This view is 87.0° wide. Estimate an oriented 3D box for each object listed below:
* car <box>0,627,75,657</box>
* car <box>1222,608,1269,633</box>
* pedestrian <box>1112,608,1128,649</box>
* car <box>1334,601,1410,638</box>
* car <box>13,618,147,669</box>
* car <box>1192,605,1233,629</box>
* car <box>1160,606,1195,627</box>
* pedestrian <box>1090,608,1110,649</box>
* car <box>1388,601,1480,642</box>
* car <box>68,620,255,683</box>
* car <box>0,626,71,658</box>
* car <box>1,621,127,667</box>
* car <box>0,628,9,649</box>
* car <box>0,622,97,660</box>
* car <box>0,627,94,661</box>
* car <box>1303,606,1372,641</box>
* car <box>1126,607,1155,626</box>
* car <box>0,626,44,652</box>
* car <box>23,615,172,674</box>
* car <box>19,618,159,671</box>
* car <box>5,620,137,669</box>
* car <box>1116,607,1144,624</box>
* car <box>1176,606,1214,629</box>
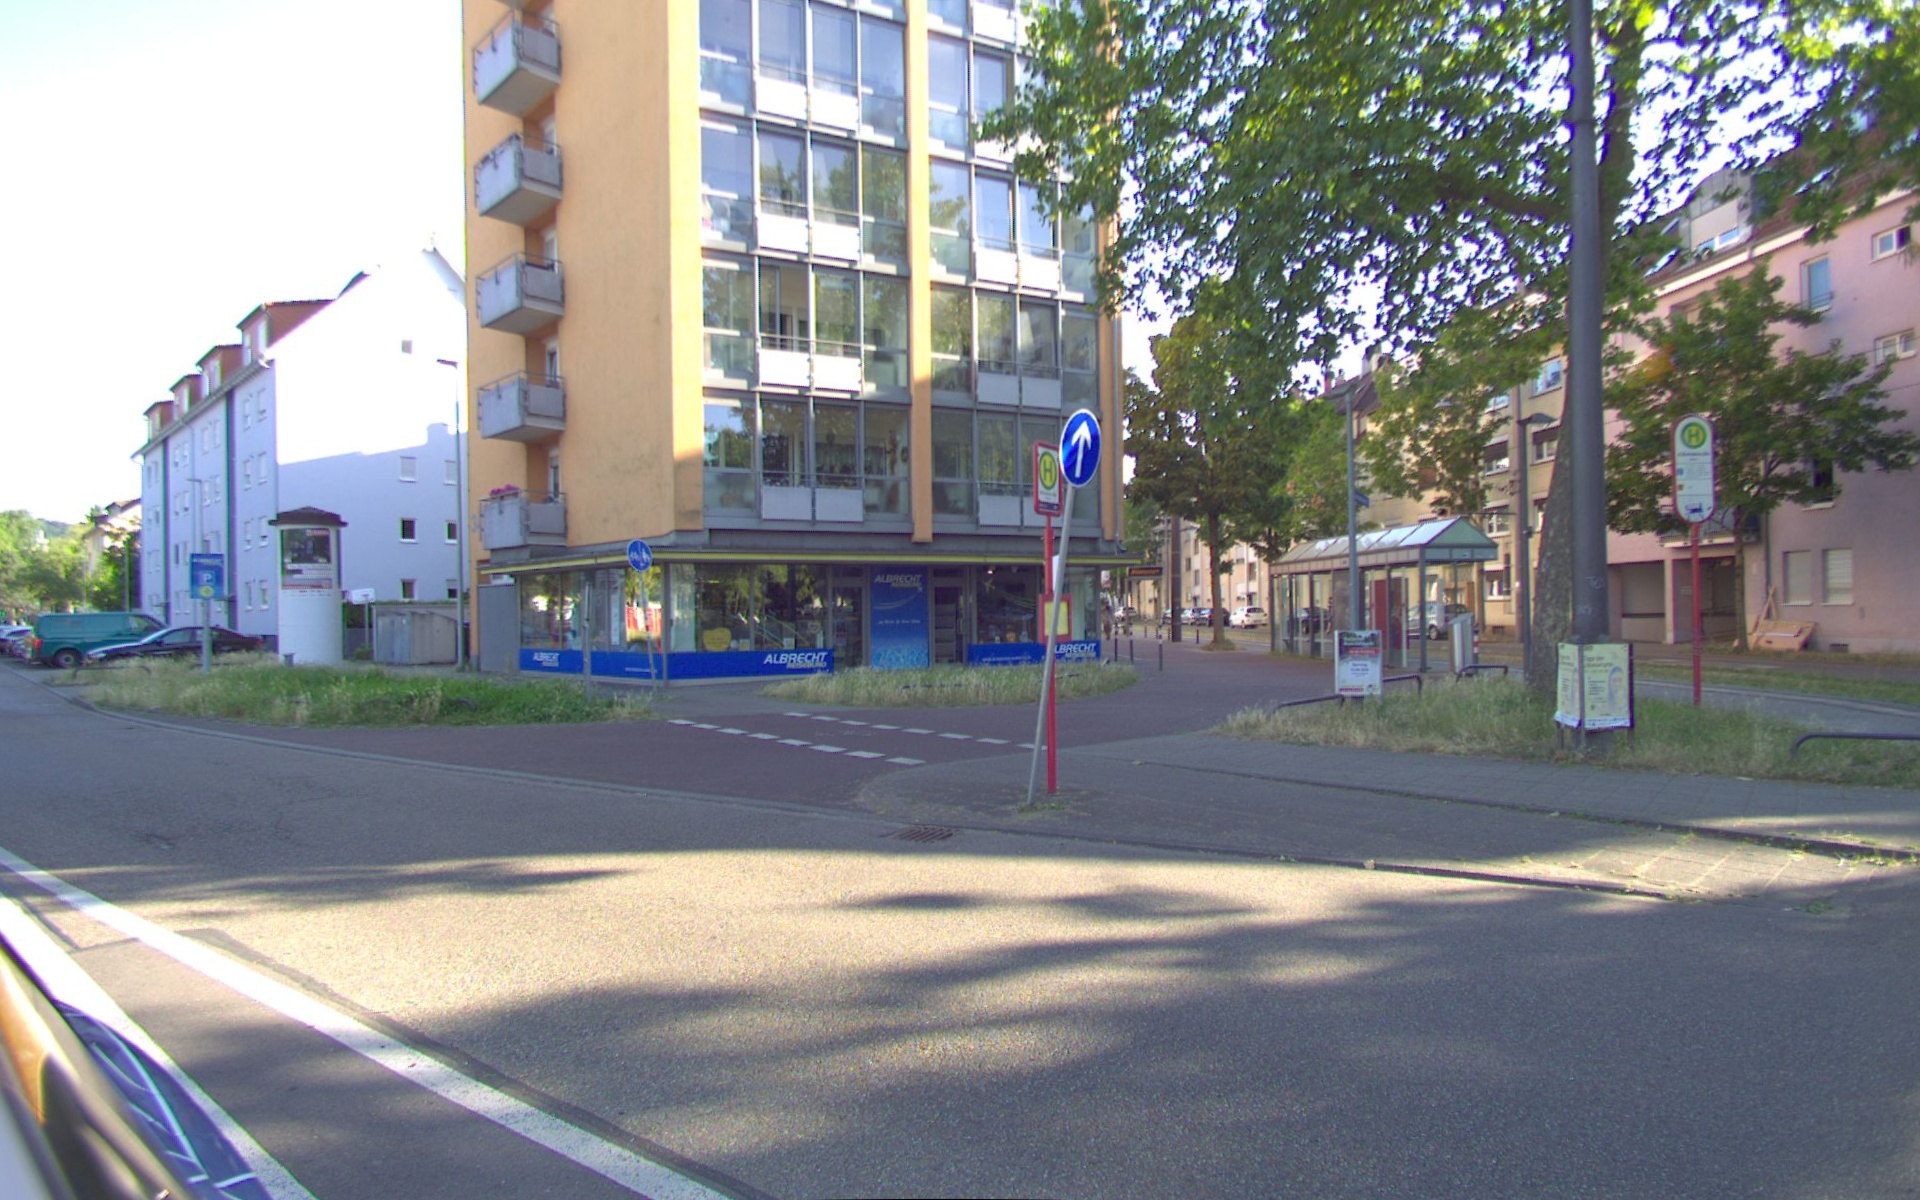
[{"bbox_3d":[-55.671,2.499,60.389,4.199,1.585,1.867,-1,0,-44],"label":"car"},{"bbox_3d":[19.160,1.333,68.062,1.741,1.588,4.049,-1,0,-3],"label":"car"},{"bbox_3d":[6.930,1.232,43.858,0.622,1.763,0.689,-1,0,6],"label":"pedestrian"},{"bbox_3d":[19.895,0.907,48.997,1.911,1.719,3.827,-1,0,-3],"label":"car"},{"bbox_3d":[-35.131,1.671,40.442,3.941,1.829,2.001,-1,0,-44],"label":"car"},{"bbox_3d":[18.692,1.253,75.167,1.808,1.719,4.059,-1,0,-3],"label":"car"},{"bbox_3d":[18.418,1.378,85.811,1.830,1.719,4.170,-1,0,-3],"label":"car"},{"bbox_3d":[6.092,1.250,43.980,0.803,1.763,0.538,-1,0,6],"label":"pedestrian"},{"bbox_3d":[20.735,0.897,44.442,1.911,1.719,4.115,-1,0,-3],"label":"car"},{"bbox_3d":[-24.283,1.506,30.874,4.361,1.674,2.003,-1,0,-41],"label":"car"},{"bbox_3d":[-55.804,2.470,60.442,4.016,1.765,1.900,-1,0,-44],"label":"car"},{"bbox_3d":[-38.838,1.862,43.938,4.016,1.765,1.900,-1,0,-44],"label":"car"},{"bbox_3d":[-74.771,2.985,76.969,3.490,1.585,1.867,-1,0,-44],"label":"car"},{"bbox_3d":[-46.128,2.035,50.874,4.061,1.785,1.758,-1,0,-44],"label":"car"},{"bbox_3d":[-48.131,2.272,52.965,4.199,1.585,1.867,-1,0,-44],"label":"car"},{"bbox_3d":[19.905,1.191,53.610,1.911,1.719,4.115,-1,0,-3],"label":"car"},{"bbox_3d":[17.771,1.621,99.883,1.911,1.719,4.003,-1,0,-3],"label":"car"},{"bbox_3d":[-63.507,2.601,67.001,4.199,1.585,1.867,-1,0,-44],"label":"car"},{"bbox_3d":[-31.225,1.554,36.696,2.001,1.962,3.942,-1,0,44],"label":"car"},{"bbox_3d":[-33.131,1.645,38.539,3.941,1.829,2.001,-1,0,-44],"label":"car"},{"bbox_3d":[-36.869,1.804,42.020,4.003,1.829,1.938,-1,0,-44],"label":"car"},{"bbox_3d":[17.721,1.620,105.557,1.911,1.719,4.372,-1,0,-3],"label":"car"},{"bbox_3d":[18.630,1.337,80.357,1.771,1.719,4.170,-1,0,-3],"label":"car"}]
